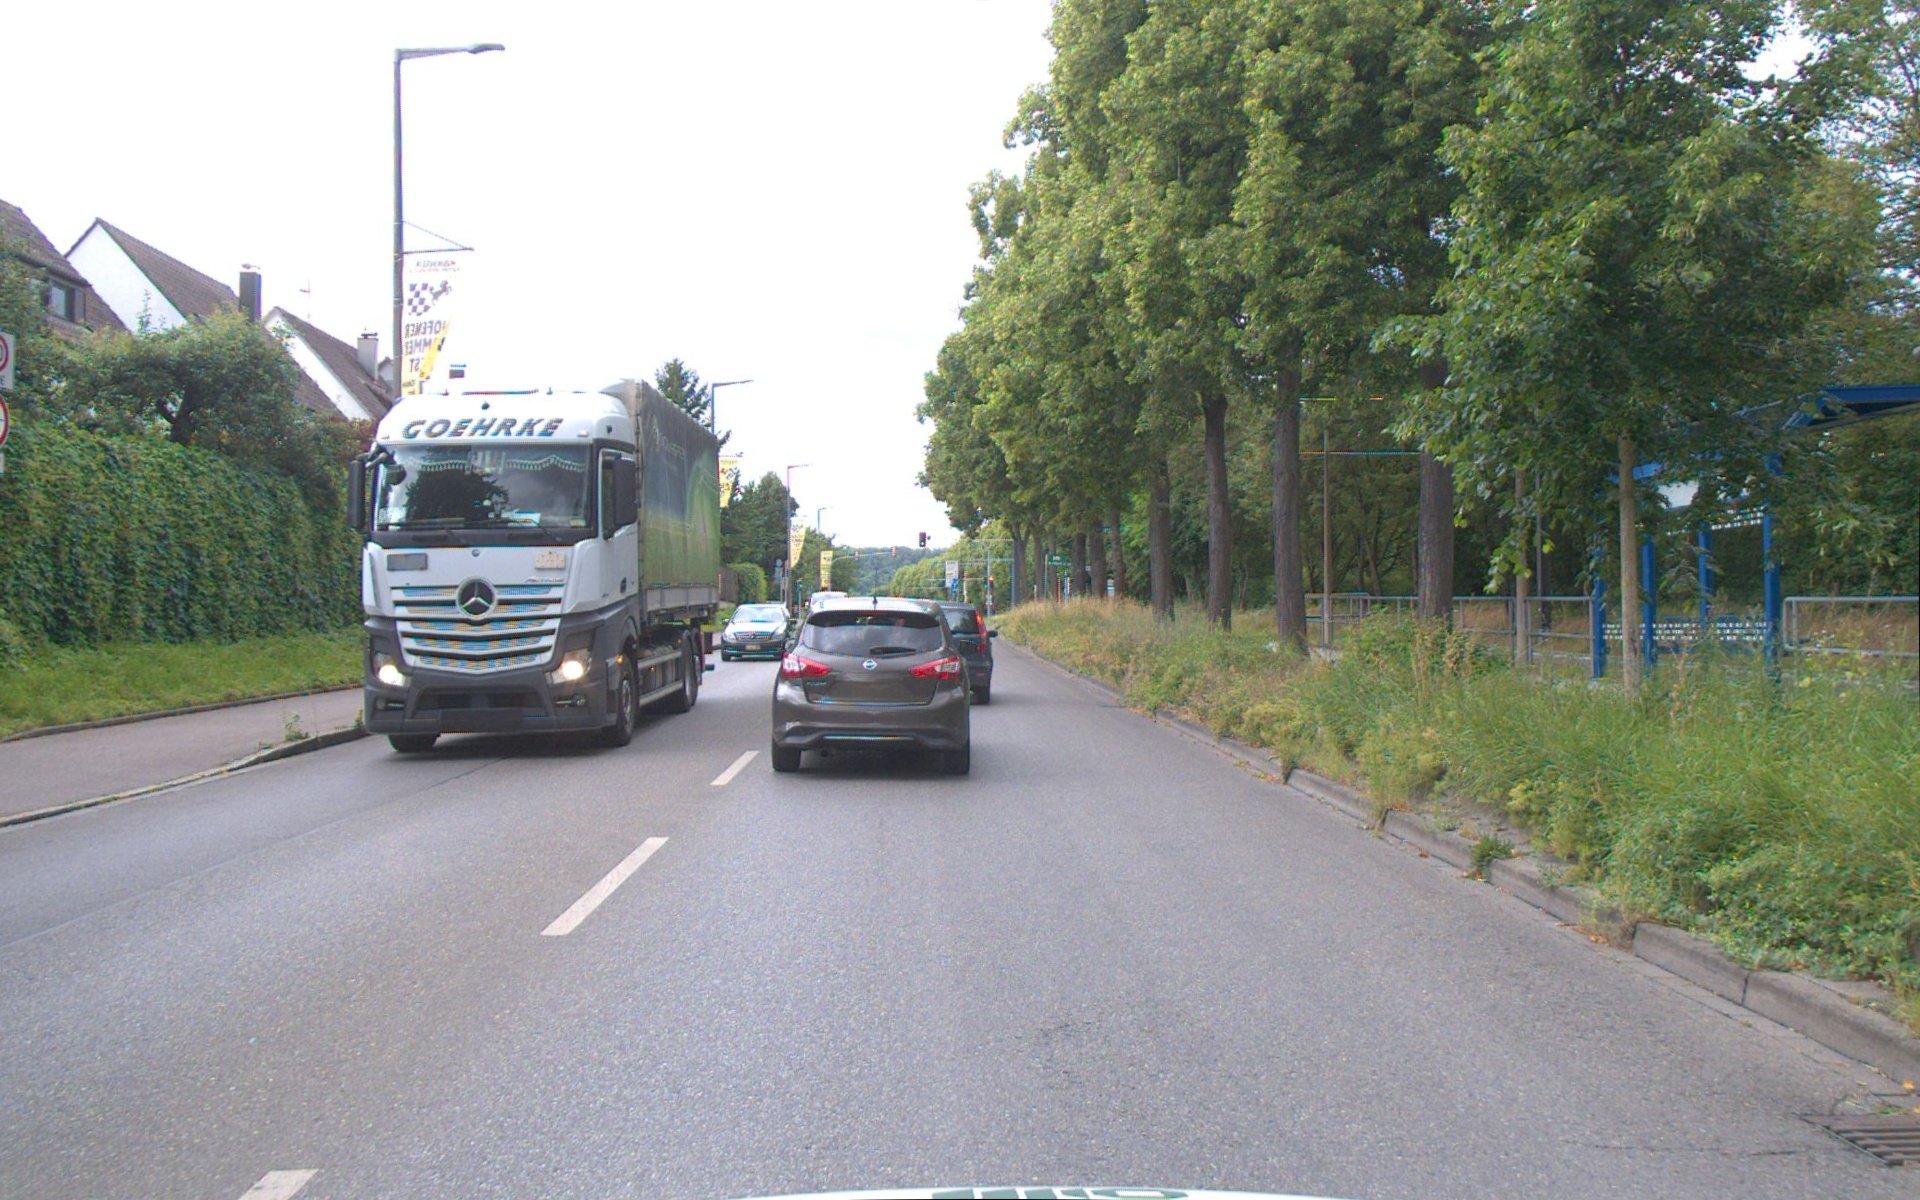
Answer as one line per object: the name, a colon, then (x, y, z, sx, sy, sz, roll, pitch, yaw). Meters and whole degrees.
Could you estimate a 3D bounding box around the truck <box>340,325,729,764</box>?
truck: (-4.811, -0.492, 21.140, 2.499, 4.114, 10.614, -2, -1, -2)

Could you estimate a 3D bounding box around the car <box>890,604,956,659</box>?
car: (-1.021, 0.834, 45.642, 1.756, 1.421, 3.999, 0, 0, -1)

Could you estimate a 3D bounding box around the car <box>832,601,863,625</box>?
car: (-6.721, 0.763, 99.223, 1.617, 1.371, 4.476, -1, 0, -2)

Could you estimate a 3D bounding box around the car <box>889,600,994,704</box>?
car: (-0.305, 0.750, 25.749, 1.507, 1.504, 3.763, 0, 0, -1)

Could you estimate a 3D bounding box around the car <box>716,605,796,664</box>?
car: (-5.305, 0.870, 43.398, 1.698, 1.399, 4.238, -1, 0, -2)

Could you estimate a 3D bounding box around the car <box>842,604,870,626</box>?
car: (-6.960, 0.983, 111.106, 1.848, 1.407, 4.488, -1, 0, -3)

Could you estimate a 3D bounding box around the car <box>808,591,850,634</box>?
car: (-6.442, 0.569, 81.702, 1.868, 1.966, 4.909, 0, 1, -3)

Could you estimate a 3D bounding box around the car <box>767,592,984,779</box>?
car: (-0.744, 0.706, 15.945, 1.798, 1.545, 4.481, 0, 0, -1)
